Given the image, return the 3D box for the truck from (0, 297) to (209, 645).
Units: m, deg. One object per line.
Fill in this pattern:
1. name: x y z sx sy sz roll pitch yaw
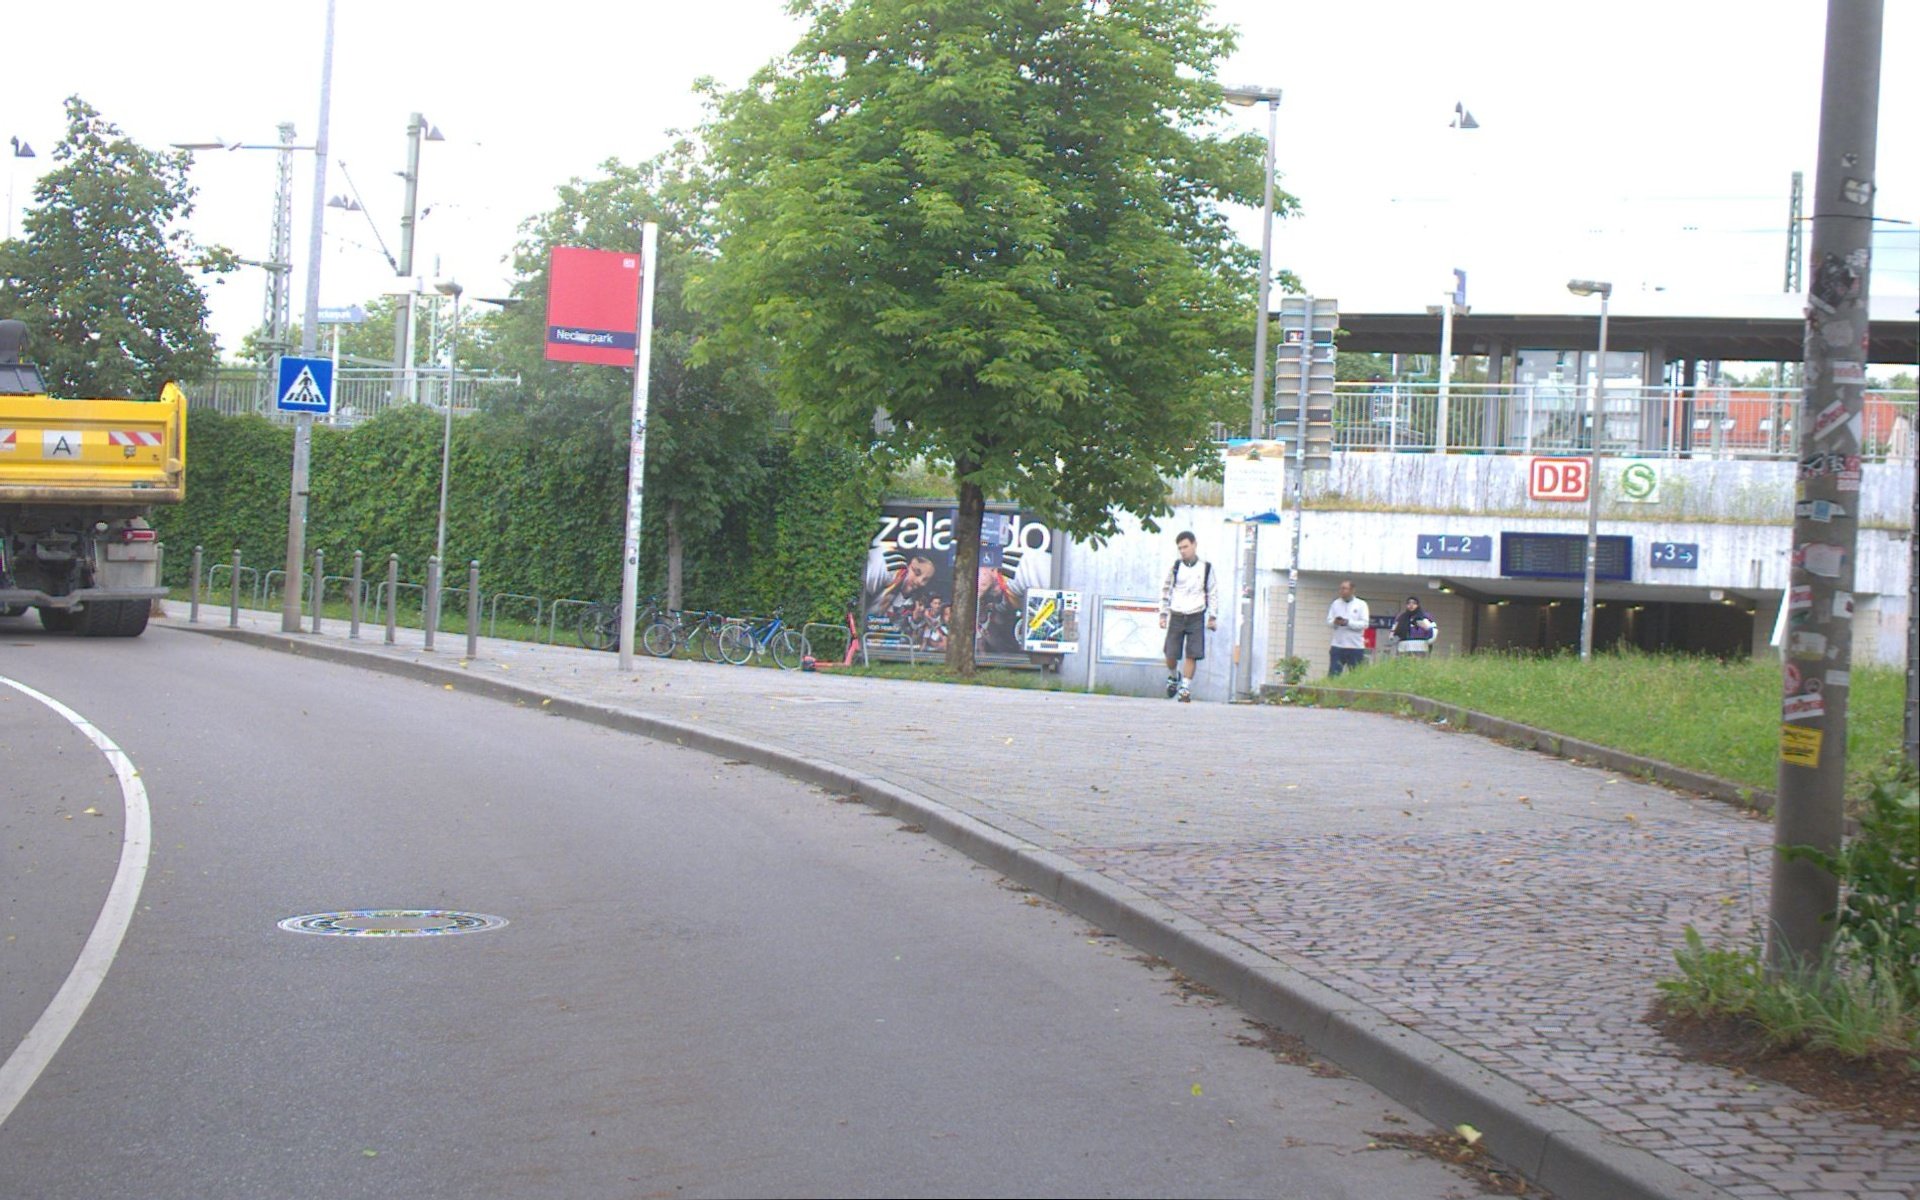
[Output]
1. truck: -11.154 -1.572 38.953 2.764 3.471 8.131 3 2 -29

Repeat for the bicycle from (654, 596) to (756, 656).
1. bicycle: -4.294 0.438 57.882 1.575 0.851 0.463 6 -1 -26

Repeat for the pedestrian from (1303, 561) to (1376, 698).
1. pedestrian: 4.842 0.377 43.859 0.814 1.697 0.748 2 -1 10

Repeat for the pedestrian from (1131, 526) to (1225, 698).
1. pedestrian: 2.204 0.127 34.612 0.848 1.678 0.940 2 -1 6

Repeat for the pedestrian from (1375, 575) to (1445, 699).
1. pedestrian: 5.886 0.488 44.963 0.800 1.578 0.801 2 -1 10

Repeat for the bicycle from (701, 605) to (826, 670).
1. bicycle: -3.269 0.630 57.294 1.965 0.862 0.511 7 -1 -29

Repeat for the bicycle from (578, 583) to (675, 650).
1. bicycle: -5.637 0.282 58.108 1.487 0.986 0.694 5 0 -12

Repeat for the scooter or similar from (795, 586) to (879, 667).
1. scooter or similar: -2.016 0.433 56.337 1.187 1.202 0.468 6 -1 -26
